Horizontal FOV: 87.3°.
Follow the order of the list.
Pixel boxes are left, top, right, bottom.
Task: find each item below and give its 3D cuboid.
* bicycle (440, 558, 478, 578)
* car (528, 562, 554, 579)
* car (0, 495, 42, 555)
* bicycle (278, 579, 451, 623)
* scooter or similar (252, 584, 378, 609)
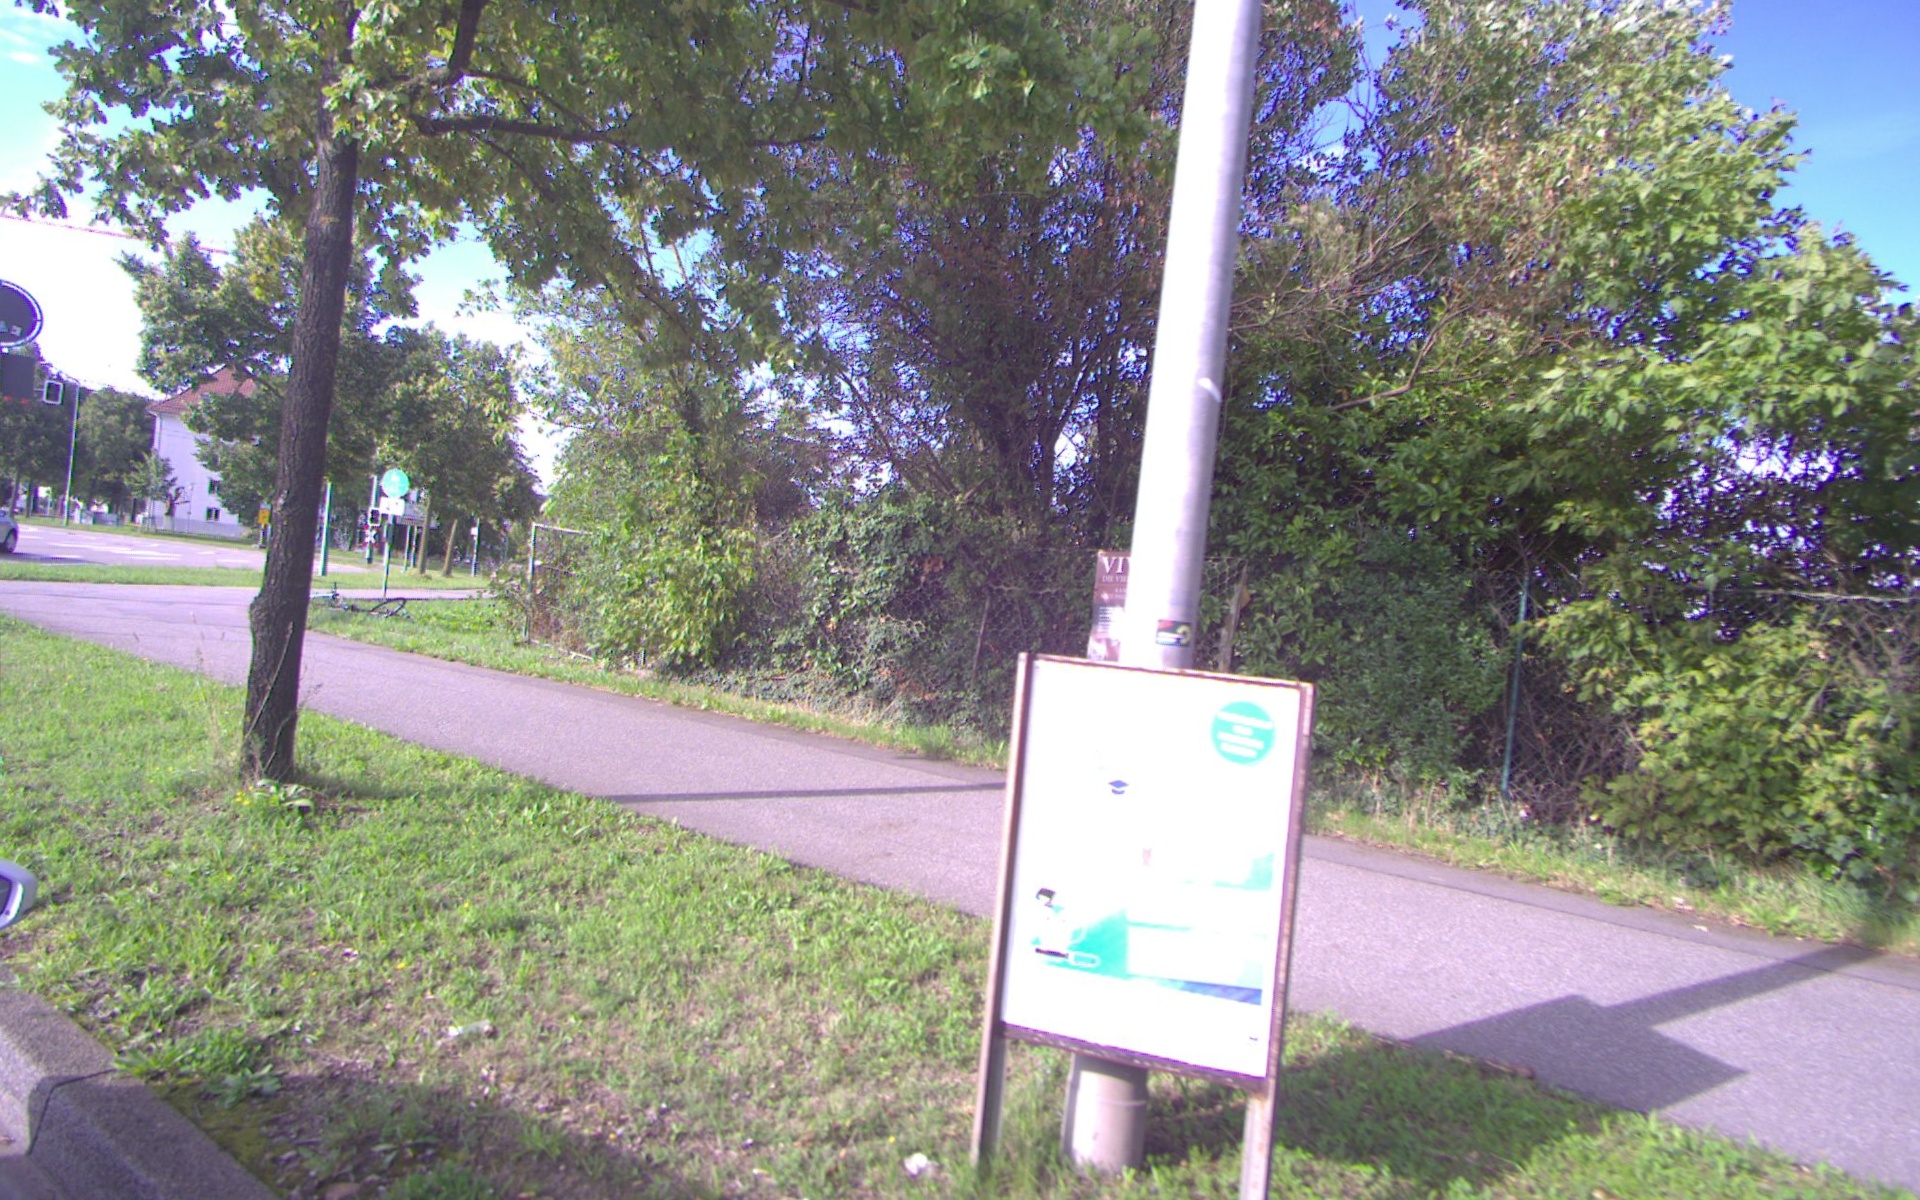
[{"bbox_3d":[-37.720,-2.397,75.765,0.702,1.237,2.523,6,0,31],"label":"bicycle"},{"bbox_3d":[-39.884,-2.855,95.606,1.839,1.376,4.702,6,-1,-27],"label":"car"},{"bbox_3d":[-24.239,-1.919,24.085,1.832,1.444,4.430,8,0,-23],"label":"car"},{"bbox_3d":[-9.872,0.028,16.767,2.210,0.350,1.090,9,-1,-2],"label":"bicycle"},{"bbox_3d":[-11.996,-0.055,18.778,1.268,0.284,1.554,6,0,7],"label":"scooter or similar"}]
